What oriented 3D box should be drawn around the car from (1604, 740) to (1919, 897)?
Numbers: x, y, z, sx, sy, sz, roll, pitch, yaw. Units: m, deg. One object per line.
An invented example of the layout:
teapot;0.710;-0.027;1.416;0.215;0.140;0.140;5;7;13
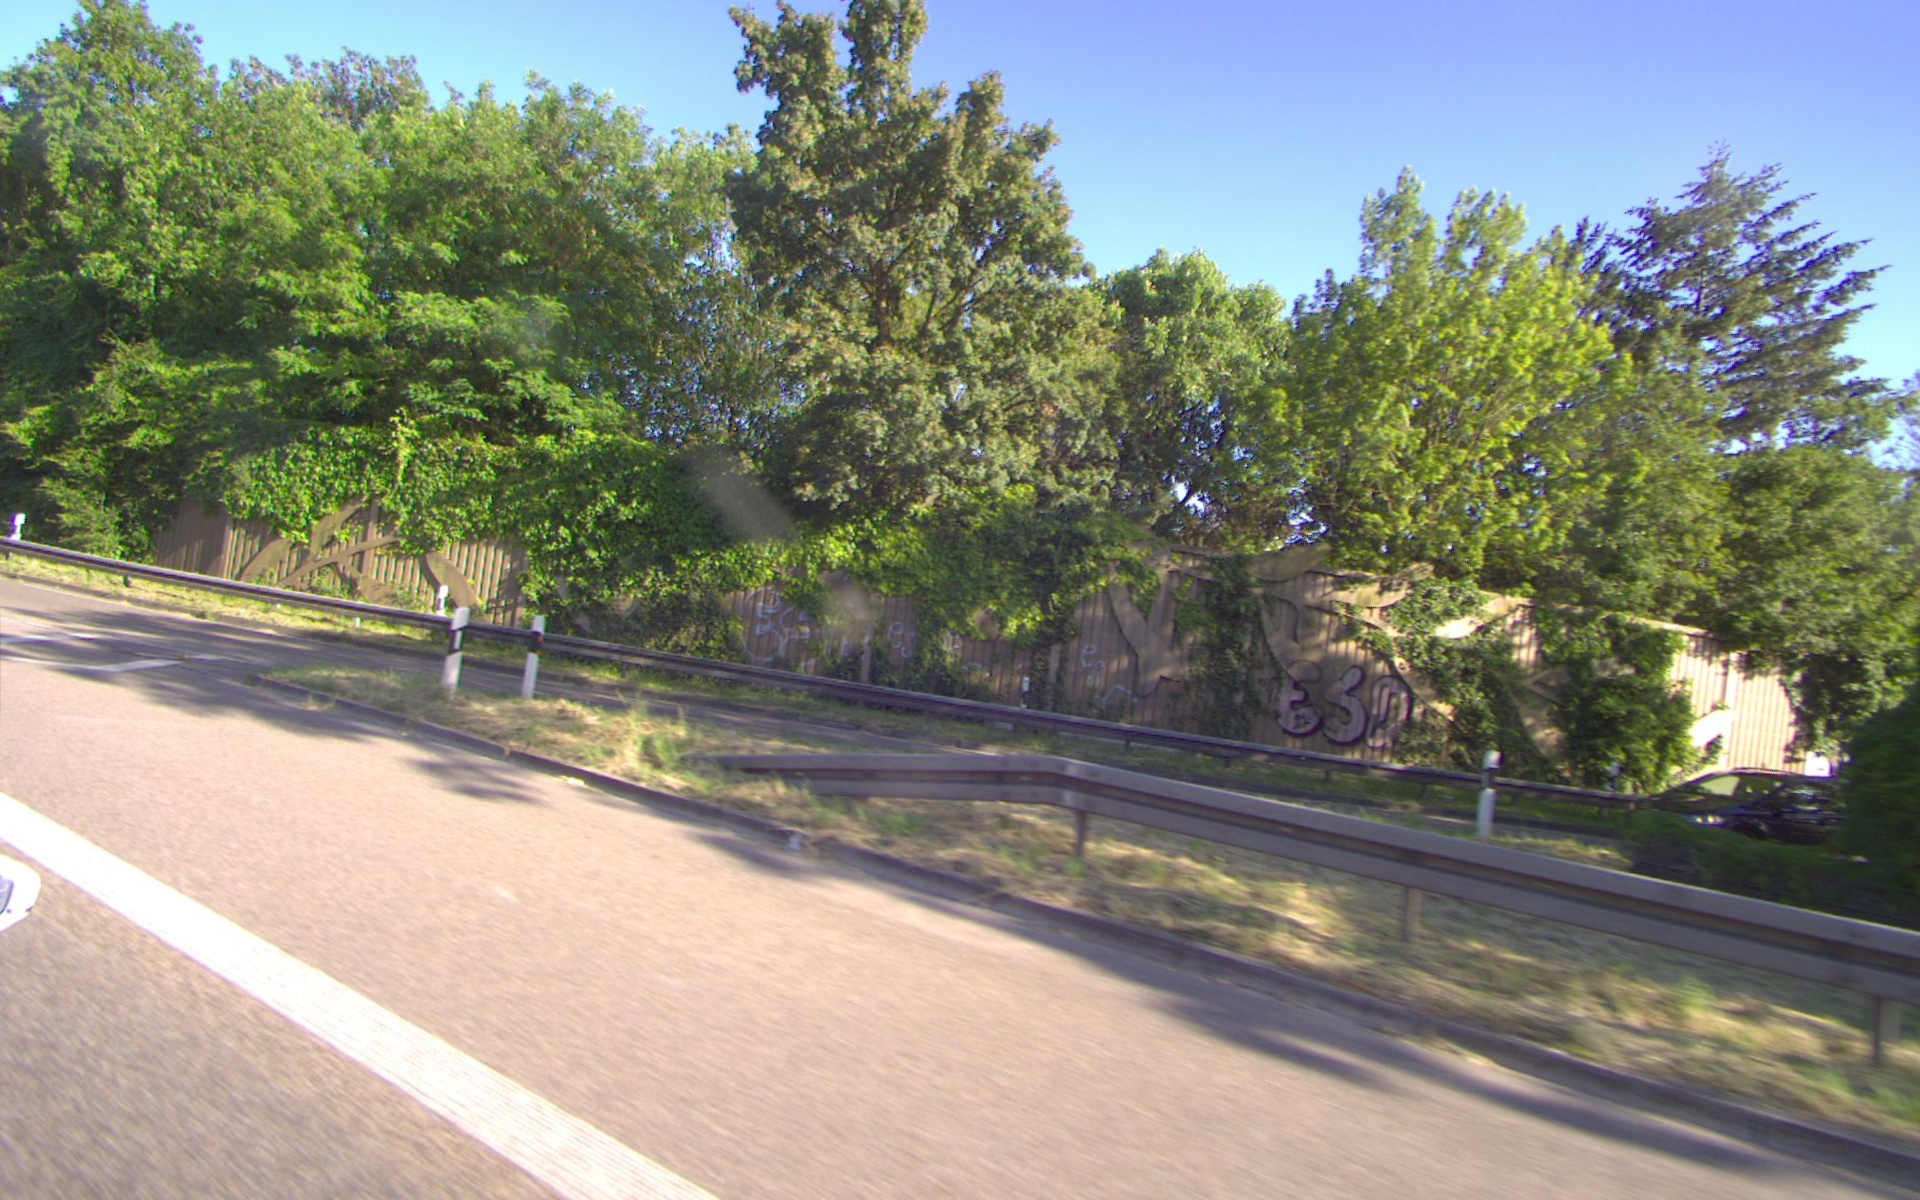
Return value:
car;12.997;3.514;16.383;3.935;1.680;1.746;10;-3;-9
